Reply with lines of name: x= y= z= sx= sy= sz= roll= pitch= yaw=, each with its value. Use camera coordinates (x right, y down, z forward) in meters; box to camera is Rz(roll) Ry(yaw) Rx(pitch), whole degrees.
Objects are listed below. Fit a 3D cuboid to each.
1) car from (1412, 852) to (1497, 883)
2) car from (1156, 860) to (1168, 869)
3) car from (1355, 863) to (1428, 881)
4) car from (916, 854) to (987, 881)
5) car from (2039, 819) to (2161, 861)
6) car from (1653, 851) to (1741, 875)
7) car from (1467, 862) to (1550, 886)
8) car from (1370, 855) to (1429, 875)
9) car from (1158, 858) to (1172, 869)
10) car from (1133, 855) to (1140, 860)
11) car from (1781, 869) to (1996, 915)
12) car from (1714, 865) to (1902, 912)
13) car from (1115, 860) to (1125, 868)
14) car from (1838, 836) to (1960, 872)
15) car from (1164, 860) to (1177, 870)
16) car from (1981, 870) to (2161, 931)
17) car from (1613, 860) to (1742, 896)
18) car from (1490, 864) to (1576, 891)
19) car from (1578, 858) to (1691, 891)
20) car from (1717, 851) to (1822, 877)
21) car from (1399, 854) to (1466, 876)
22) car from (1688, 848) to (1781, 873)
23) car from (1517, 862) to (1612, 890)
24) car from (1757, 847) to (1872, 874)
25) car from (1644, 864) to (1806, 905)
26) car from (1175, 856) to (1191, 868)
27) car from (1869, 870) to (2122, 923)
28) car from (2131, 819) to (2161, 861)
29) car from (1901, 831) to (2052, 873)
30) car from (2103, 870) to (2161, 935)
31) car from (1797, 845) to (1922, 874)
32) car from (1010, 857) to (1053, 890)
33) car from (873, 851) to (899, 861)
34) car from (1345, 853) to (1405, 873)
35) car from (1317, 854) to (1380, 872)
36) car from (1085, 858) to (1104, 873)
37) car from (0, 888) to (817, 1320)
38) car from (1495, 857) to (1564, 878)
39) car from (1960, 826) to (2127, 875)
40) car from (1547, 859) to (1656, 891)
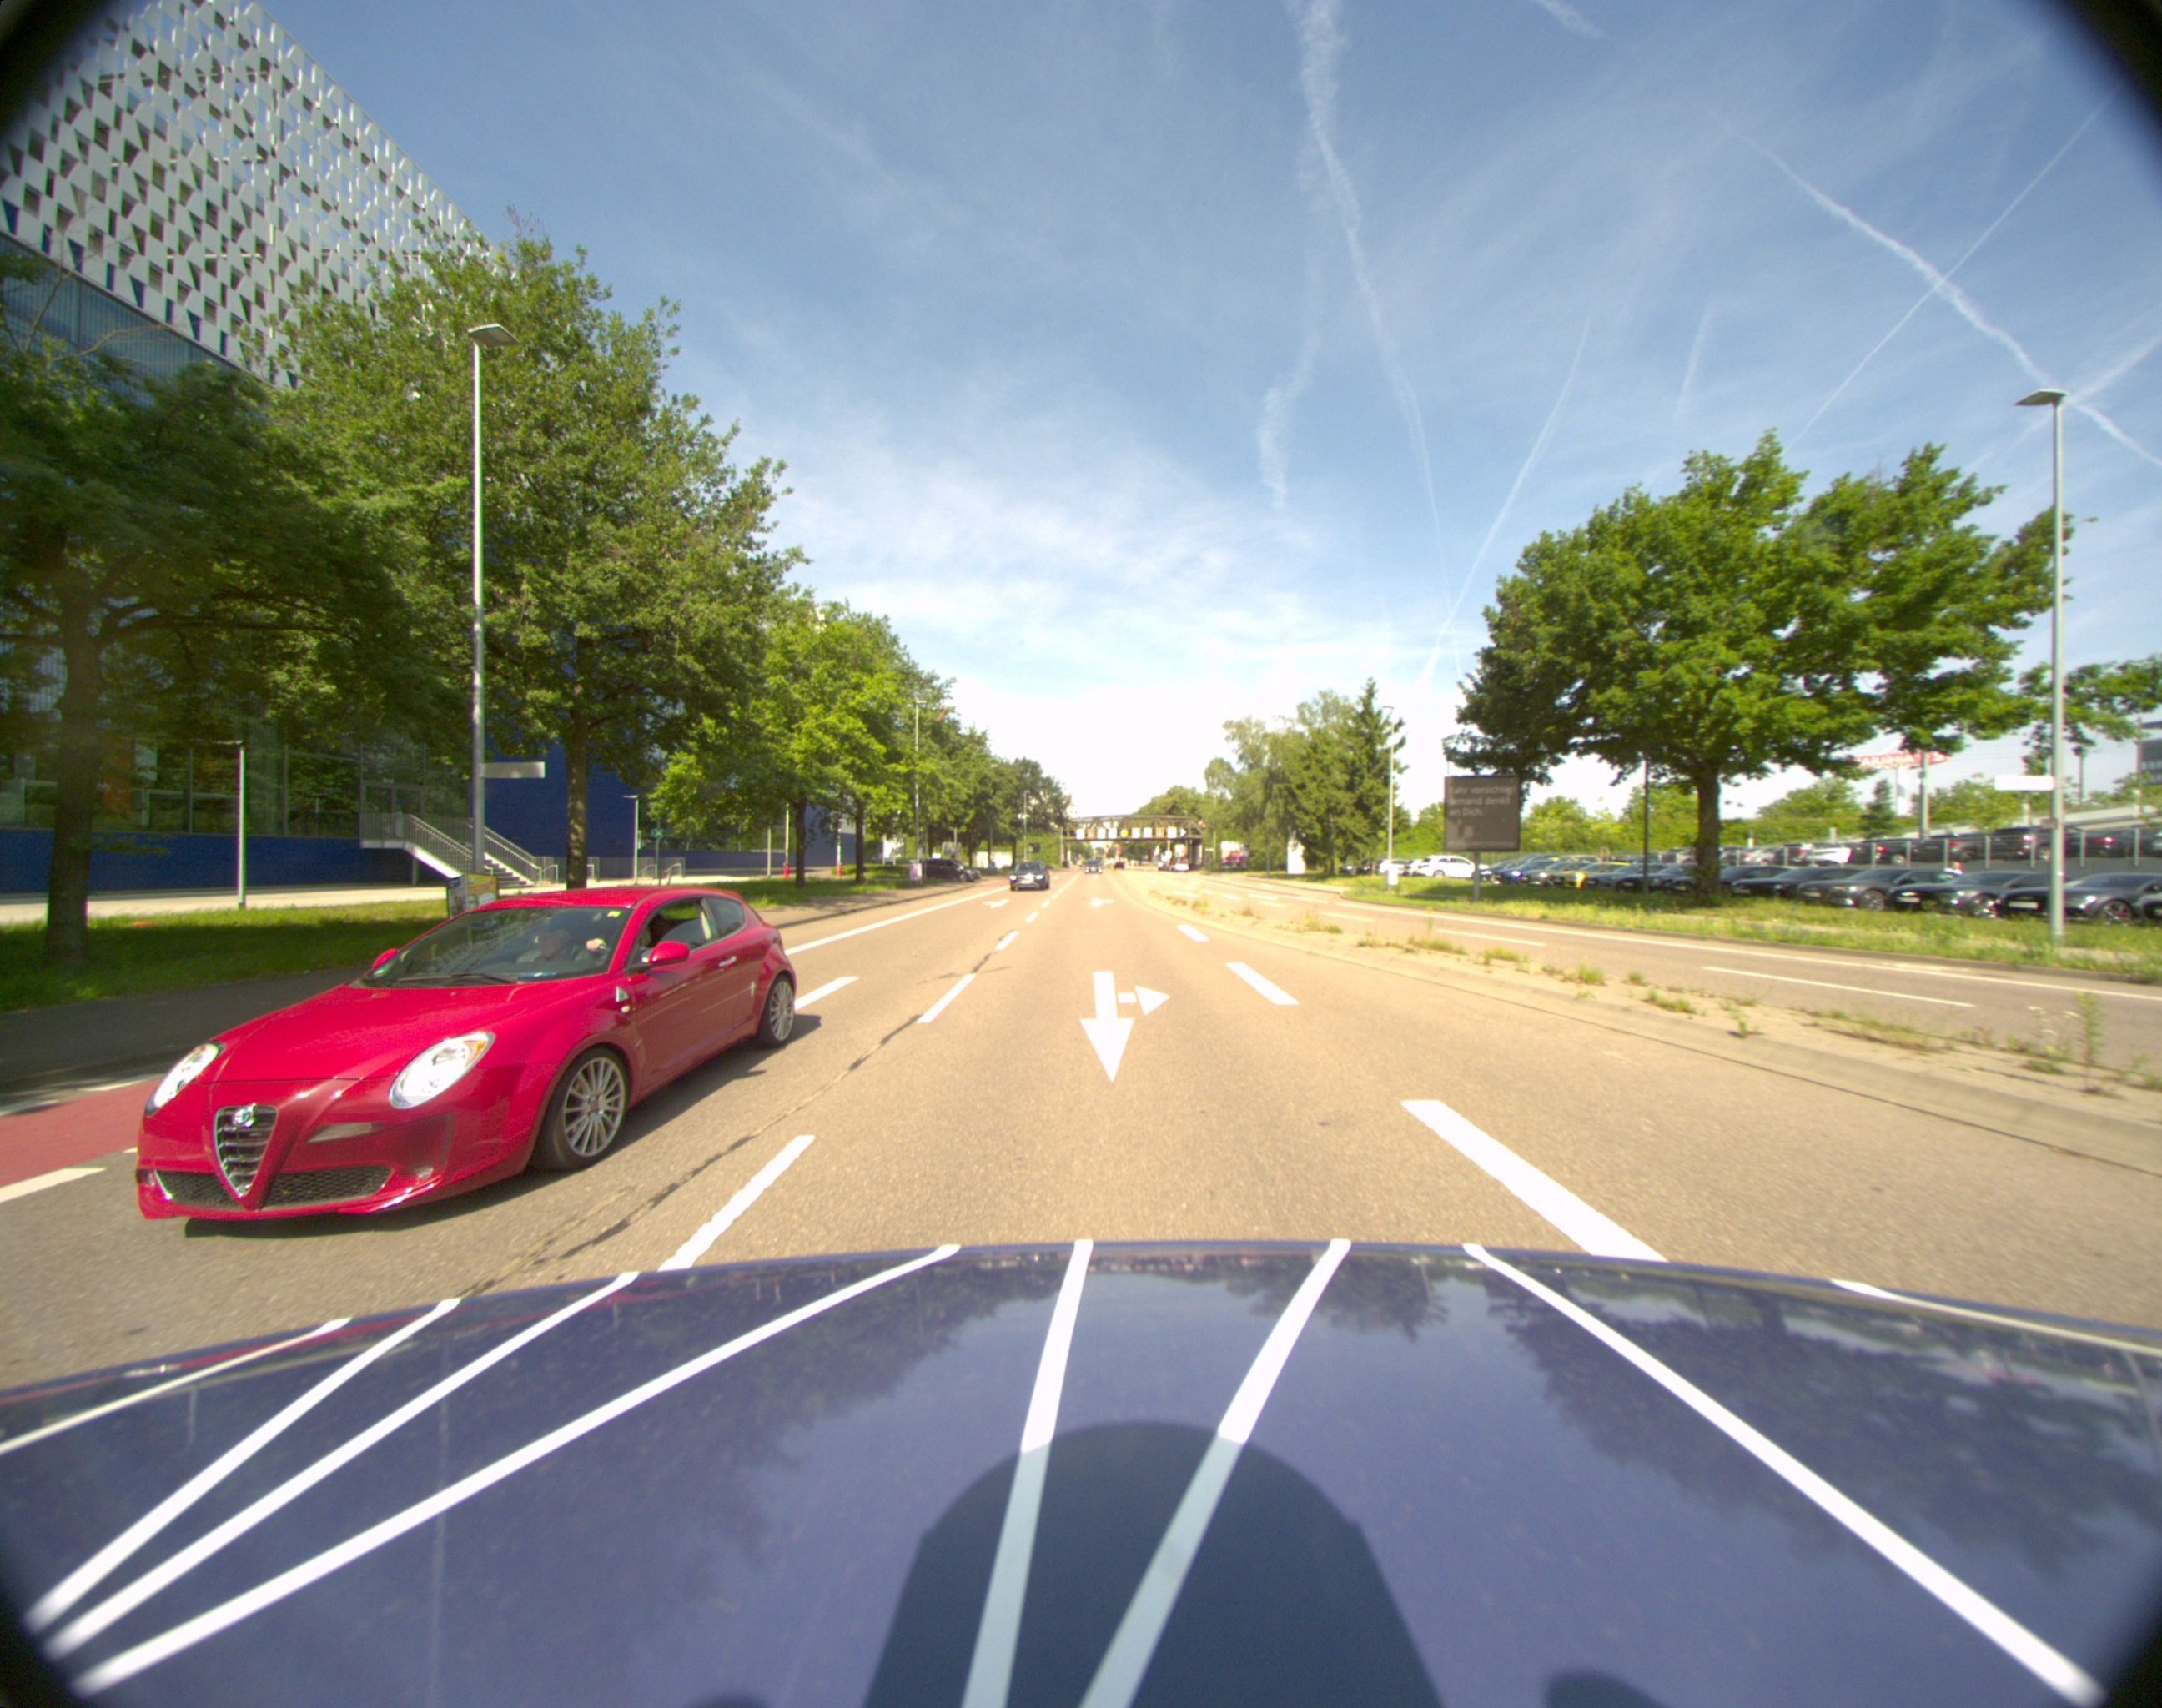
car: x=24.248 y=0.856 z=49.444 sx=4.474 sy=1.864 sz=2.000 roll=-1 pitch=0 yaw=2
car: x=14.136 y=1.852 z=132.508 sx=1.639 sy=1.379 sz=4.318 roll=1 pitch=0 yaw=1
car: x=24.234 y=1.428 z=59.349 sx=4.863 sy=1.261 sz=2.000 roll=-1 pitch=0 yaw=1
car: x=-8.983 y=0.910 z=52.700 sx=4.452 sy=1.684 sz=1.845 roll=1 pitch=0 yaw=8
car: x=40.379 y=-0.503 z=29.270 sx=4.511 sy=1.542 sz=1.979 roll=0 pitch=0 yaw=-1
car: x=40.647 y=0.580 z=50.182 sx=4.213 sy=1.468 sz=2.000 roll=-1 pitch=0 yaw=-2
car: x=24.643 y=1.147 z=43.912 sx=3.801 sy=1.277 sz=1.744 roll=-1 pitch=0 yaw=-1
car: x=24.009 y=0.812 z=57.326 sx=3.689 sy=1.363 sz=1.816 roll=-1 pitch=0 yaw=1
car: x=15.493 y=1.731 z=141.106 sx=1.998 sy=1.850 sz=5.451 roll=2 pitch=0 yaw=1
car: x=18.461 y=1.185 z=252.982 sx=1.824 sy=1.711 sz=3.636 roll=-1 pitch=0 yaw=-1
car: x=24.326 y=1.127 z=23.013 sx=4.511 sy=1.282 sz=1.919 roll=0 pitch=0 yaw=-1
car: x=24.381 y=1.132 z=25.591 sx=4.511 sy=1.467 sz=1.919 roll=0 pitch=0 yaw=-1
car: x=7.100 y=1.796 z=139.344 sx=1.785 sy=1.438 sz=4.120 roll=1 pitch=0 yaw=1
car: x=40.313 y=-0.001 z=37.504 sx=4.279 sy=1.695 sz=1.664 roll=0 pitch=0 yaw=-1
car: x=14.447 y=1.763 z=122.687 sx=1.702 sy=1.510 sz=4.027 roll=2 pitch=0 yaw=1
car: x=24.170 y=1.059 z=17.681 sx=4.511 sy=1.282 sz=1.691 roll=0 pitch=0 yaw=-1
car: x=24.320 y=0.947 z=31.063 sx=3.689 sy=1.277 sz=1.985 roll=2 pitch=0 yaw=-1
car: x=24.491 y=1.278 z=41.226 sx=3.603 sy=1.277 sz=1.744 roll=2 pitch=0 yaw=-1
car: x=24.403 y=0.889 z=33.606 sx=3.603 sy=1.277 sz=1.865 roll=2 pitch=0 yaw=-1
car: x=40.516 y=0.559 z=44.792 sx=4.511 sy=1.410 sz=1.891 roll=-1 pitch=0 yaw=-1
car: x=25.407 y=0.781 z=54.981 sx=3.995 sy=1.477 sz=1.848 roll=-1 pitch=0 yaw=5
car: x=40.954 y=0.383 z=47.677 sx=4.213 sy=1.468 sz=2.000 roll=-1 pitch=0 yaw=-2
car: x=24.579 y=1.094 z=38.673 sx=3.752 sy=1.277 sz=1.663 roll=2 pitch=0 yaw=-1
car: x=40.637 y=0.353 z=42.153 sx=4.511 sy=1.476 sz=1.979 roll=0 pitch=0 yaw=-1
car: x=24.455 y=1.130 z=28.986 sx=4.511 sy=1.467 sz=1.979 roll=0 pitch=0 yaw=-1
car: x=14.224 y=1.141 z=106.328 sx=1.998 sy=1.608 sz=4.105 roll=2 pitch=0 yaw=5
car: x=24.313 y=1.103 z=20.330 sx=4.511 sy=1.282 sz=1.919 roll=0 pitch=0 yaw=-1
car: x=40.456 y=-0.470 z=26.661 sx=4.511 sy=1.476 sz=1.979 roll=0 pitch=0 yaw=-1
car: x=40.336 y=-0.073 z=34.298 sx=4.511 sy=1.805 sz=1.979 roll=0 pitch=0 yaw=-1
car: x=24.108 y=1.009 z=15.265 sx=4.511 sy=1.282 sz=2.004 roll=0 pitch=0 yaw=-1
car: x=40.717 y=0.281 z=39.814 sx=4.511 sy=1.476 sz=1.979 roll=0 pitch=0 yaw=-1
car: x=-2.581 y=1.018 z=40.481 sx=1.824 sy=1.632 sz=4.113 roll=-1 pitch=0 yaw=2
car: x=-34.459 y=0.406 z=134.206 sx=4.293 sy=1.629 sz=1.860 roll=-1 pitch=0 yaw=30
car: x=24.239 y=0.706 z=62.721 sx=4.224 sy=1.537 sz=2.000 roll=-1 pitch=0 yaw=1
car: x=22.900 y=0.762 z=65.256 sx=4.698 sy=1.381 sz=2.000 roll=-1 pitch=0 yaw=1
car: x=1.446 y=1.215 z=80.393 sx=1.888 sy=1.427 sz=4.000 roll=-1 pitch=0 yaw=1
car: x=-3.354 y=1.060 z=4.914 sx=1.798 sy=1.446 sz=3.979 roll=-1 pitch=1 yaw=1
car: x=34.910 y=1.022 z=59.212 sx=4.253 sy=1.555 sz=1.805 roll=-1 pitch=0 yaw=-1
car: x=40.293 y=-0.152 z=31.884 sx=4.511 sy=1.951 sz=1.979 roll=0 pitch=0 yaw=-1
car: x=24.689 y=0.992 z=36.155 sx=3.897 sy=1.332 sz=1.840 roll=2 pitch=0 yaw=-1
